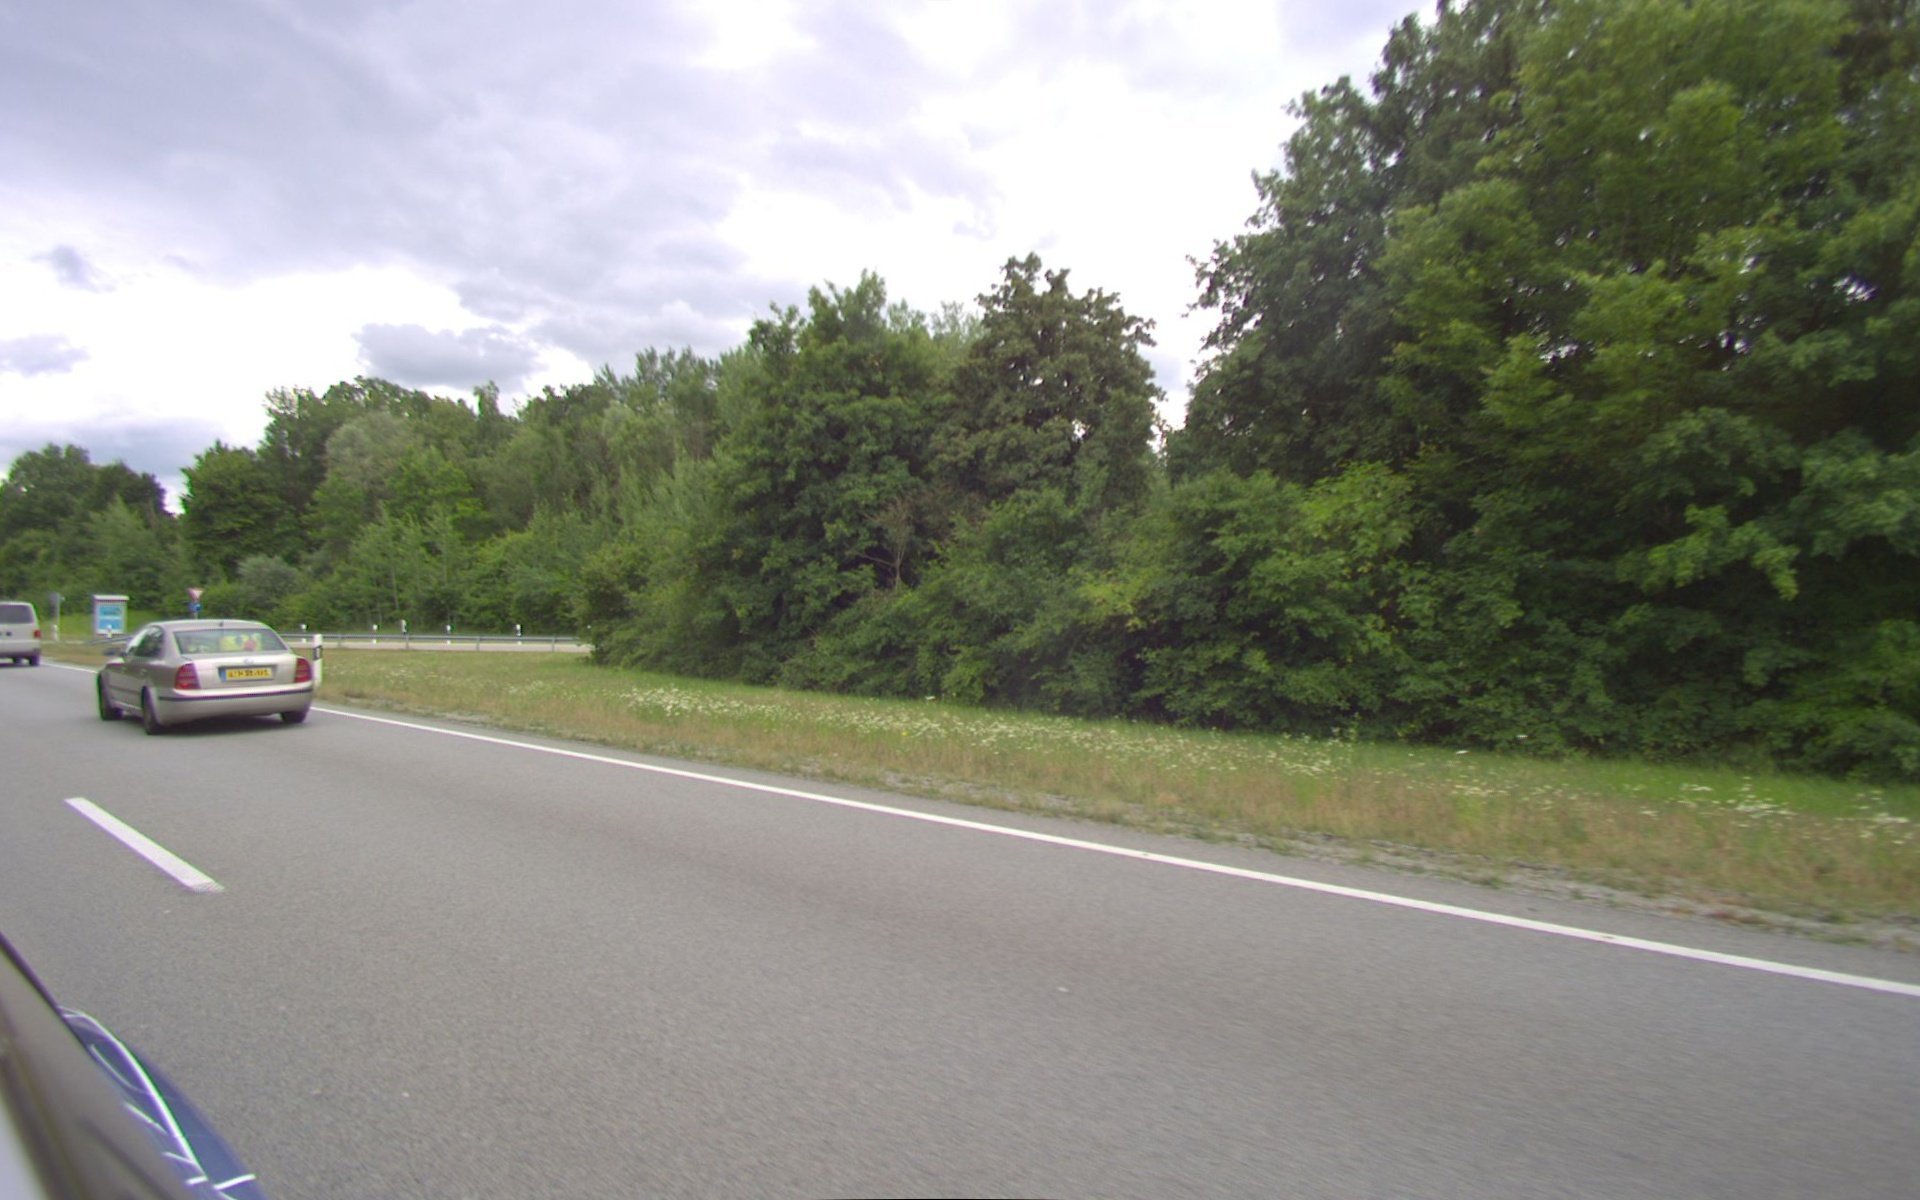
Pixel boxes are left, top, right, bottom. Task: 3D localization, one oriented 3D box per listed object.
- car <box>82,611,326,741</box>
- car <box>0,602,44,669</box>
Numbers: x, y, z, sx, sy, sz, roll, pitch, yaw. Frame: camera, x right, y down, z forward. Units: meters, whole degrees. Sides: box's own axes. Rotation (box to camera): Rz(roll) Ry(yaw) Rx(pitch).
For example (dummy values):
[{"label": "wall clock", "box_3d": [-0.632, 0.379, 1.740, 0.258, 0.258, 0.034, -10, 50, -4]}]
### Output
[{"label": "car", "box_3d": [-10.324, 0.900, 13.691, 4.500, 1.445, 1.708, -1, 0, 41]}, {"label": "car", "box_3d": [-30.379, 1.076, 31.580, 5.808, 1.955, 1.973, -1, 0, 41]}]
